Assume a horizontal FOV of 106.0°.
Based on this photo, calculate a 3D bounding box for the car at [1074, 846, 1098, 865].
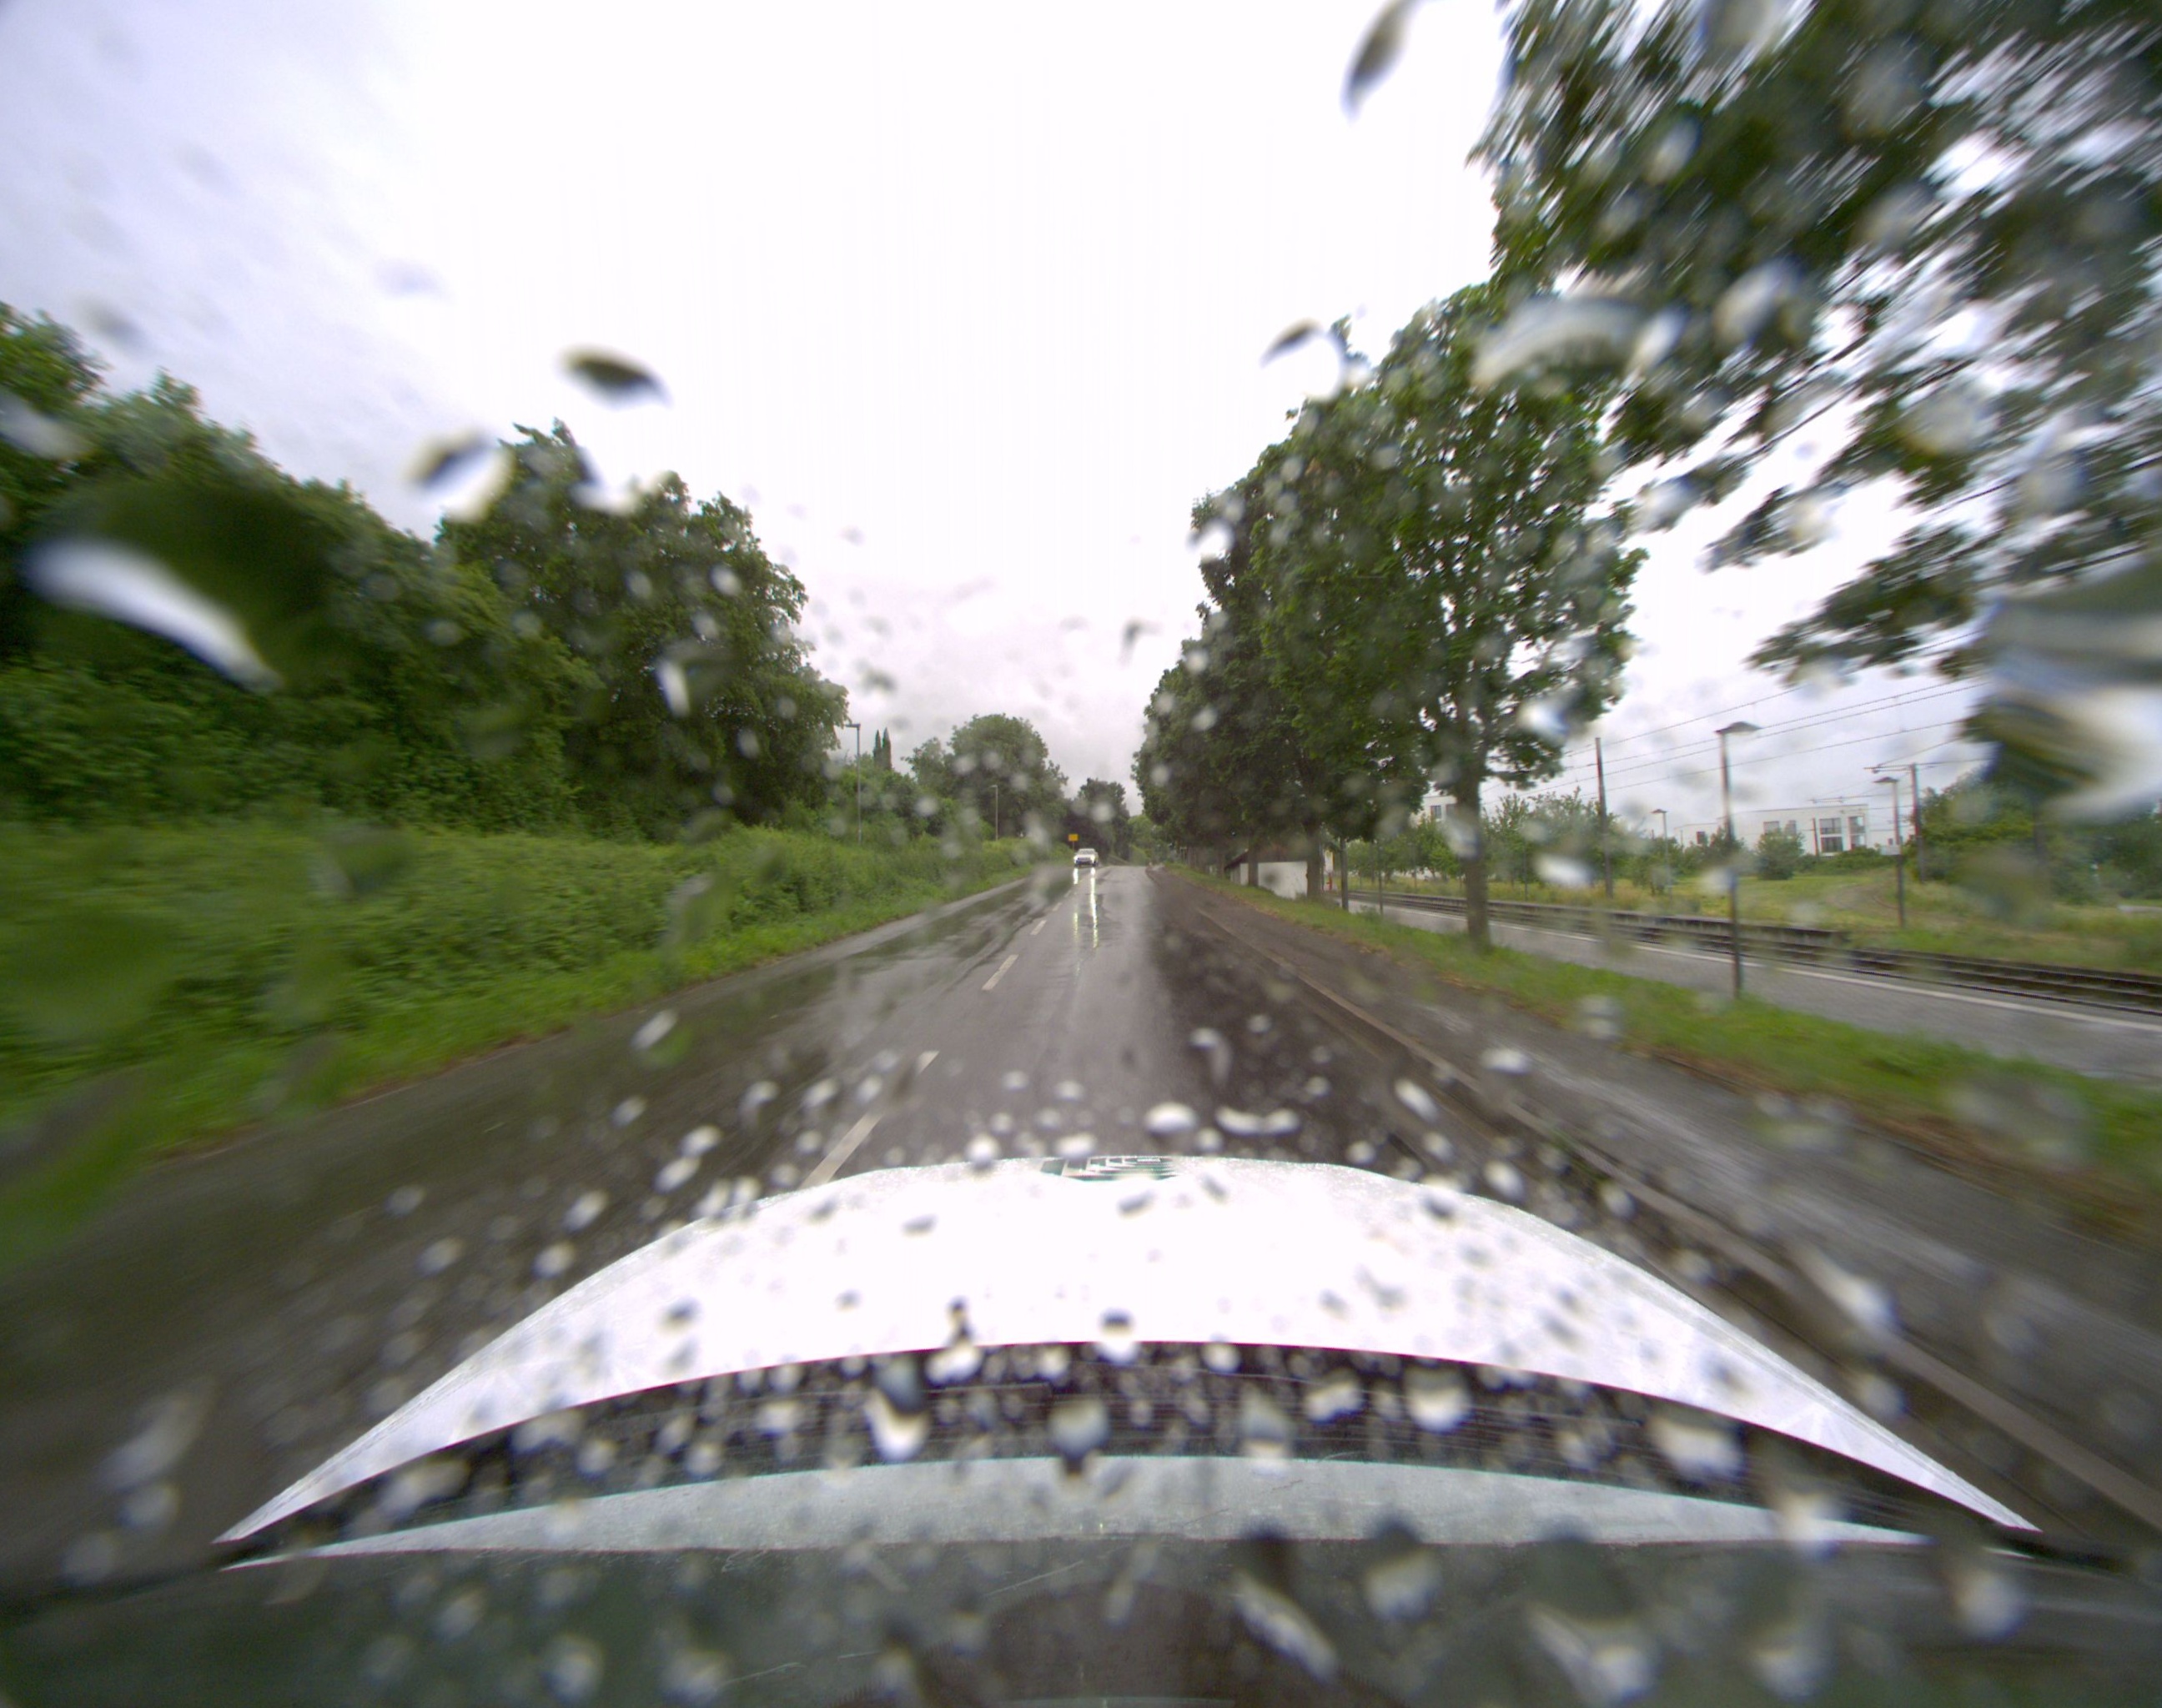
[{"bbox_3d":[0.463,0.130,70.228,1.774,1.504,4.004,-1,1,3],"label":"car"}]
